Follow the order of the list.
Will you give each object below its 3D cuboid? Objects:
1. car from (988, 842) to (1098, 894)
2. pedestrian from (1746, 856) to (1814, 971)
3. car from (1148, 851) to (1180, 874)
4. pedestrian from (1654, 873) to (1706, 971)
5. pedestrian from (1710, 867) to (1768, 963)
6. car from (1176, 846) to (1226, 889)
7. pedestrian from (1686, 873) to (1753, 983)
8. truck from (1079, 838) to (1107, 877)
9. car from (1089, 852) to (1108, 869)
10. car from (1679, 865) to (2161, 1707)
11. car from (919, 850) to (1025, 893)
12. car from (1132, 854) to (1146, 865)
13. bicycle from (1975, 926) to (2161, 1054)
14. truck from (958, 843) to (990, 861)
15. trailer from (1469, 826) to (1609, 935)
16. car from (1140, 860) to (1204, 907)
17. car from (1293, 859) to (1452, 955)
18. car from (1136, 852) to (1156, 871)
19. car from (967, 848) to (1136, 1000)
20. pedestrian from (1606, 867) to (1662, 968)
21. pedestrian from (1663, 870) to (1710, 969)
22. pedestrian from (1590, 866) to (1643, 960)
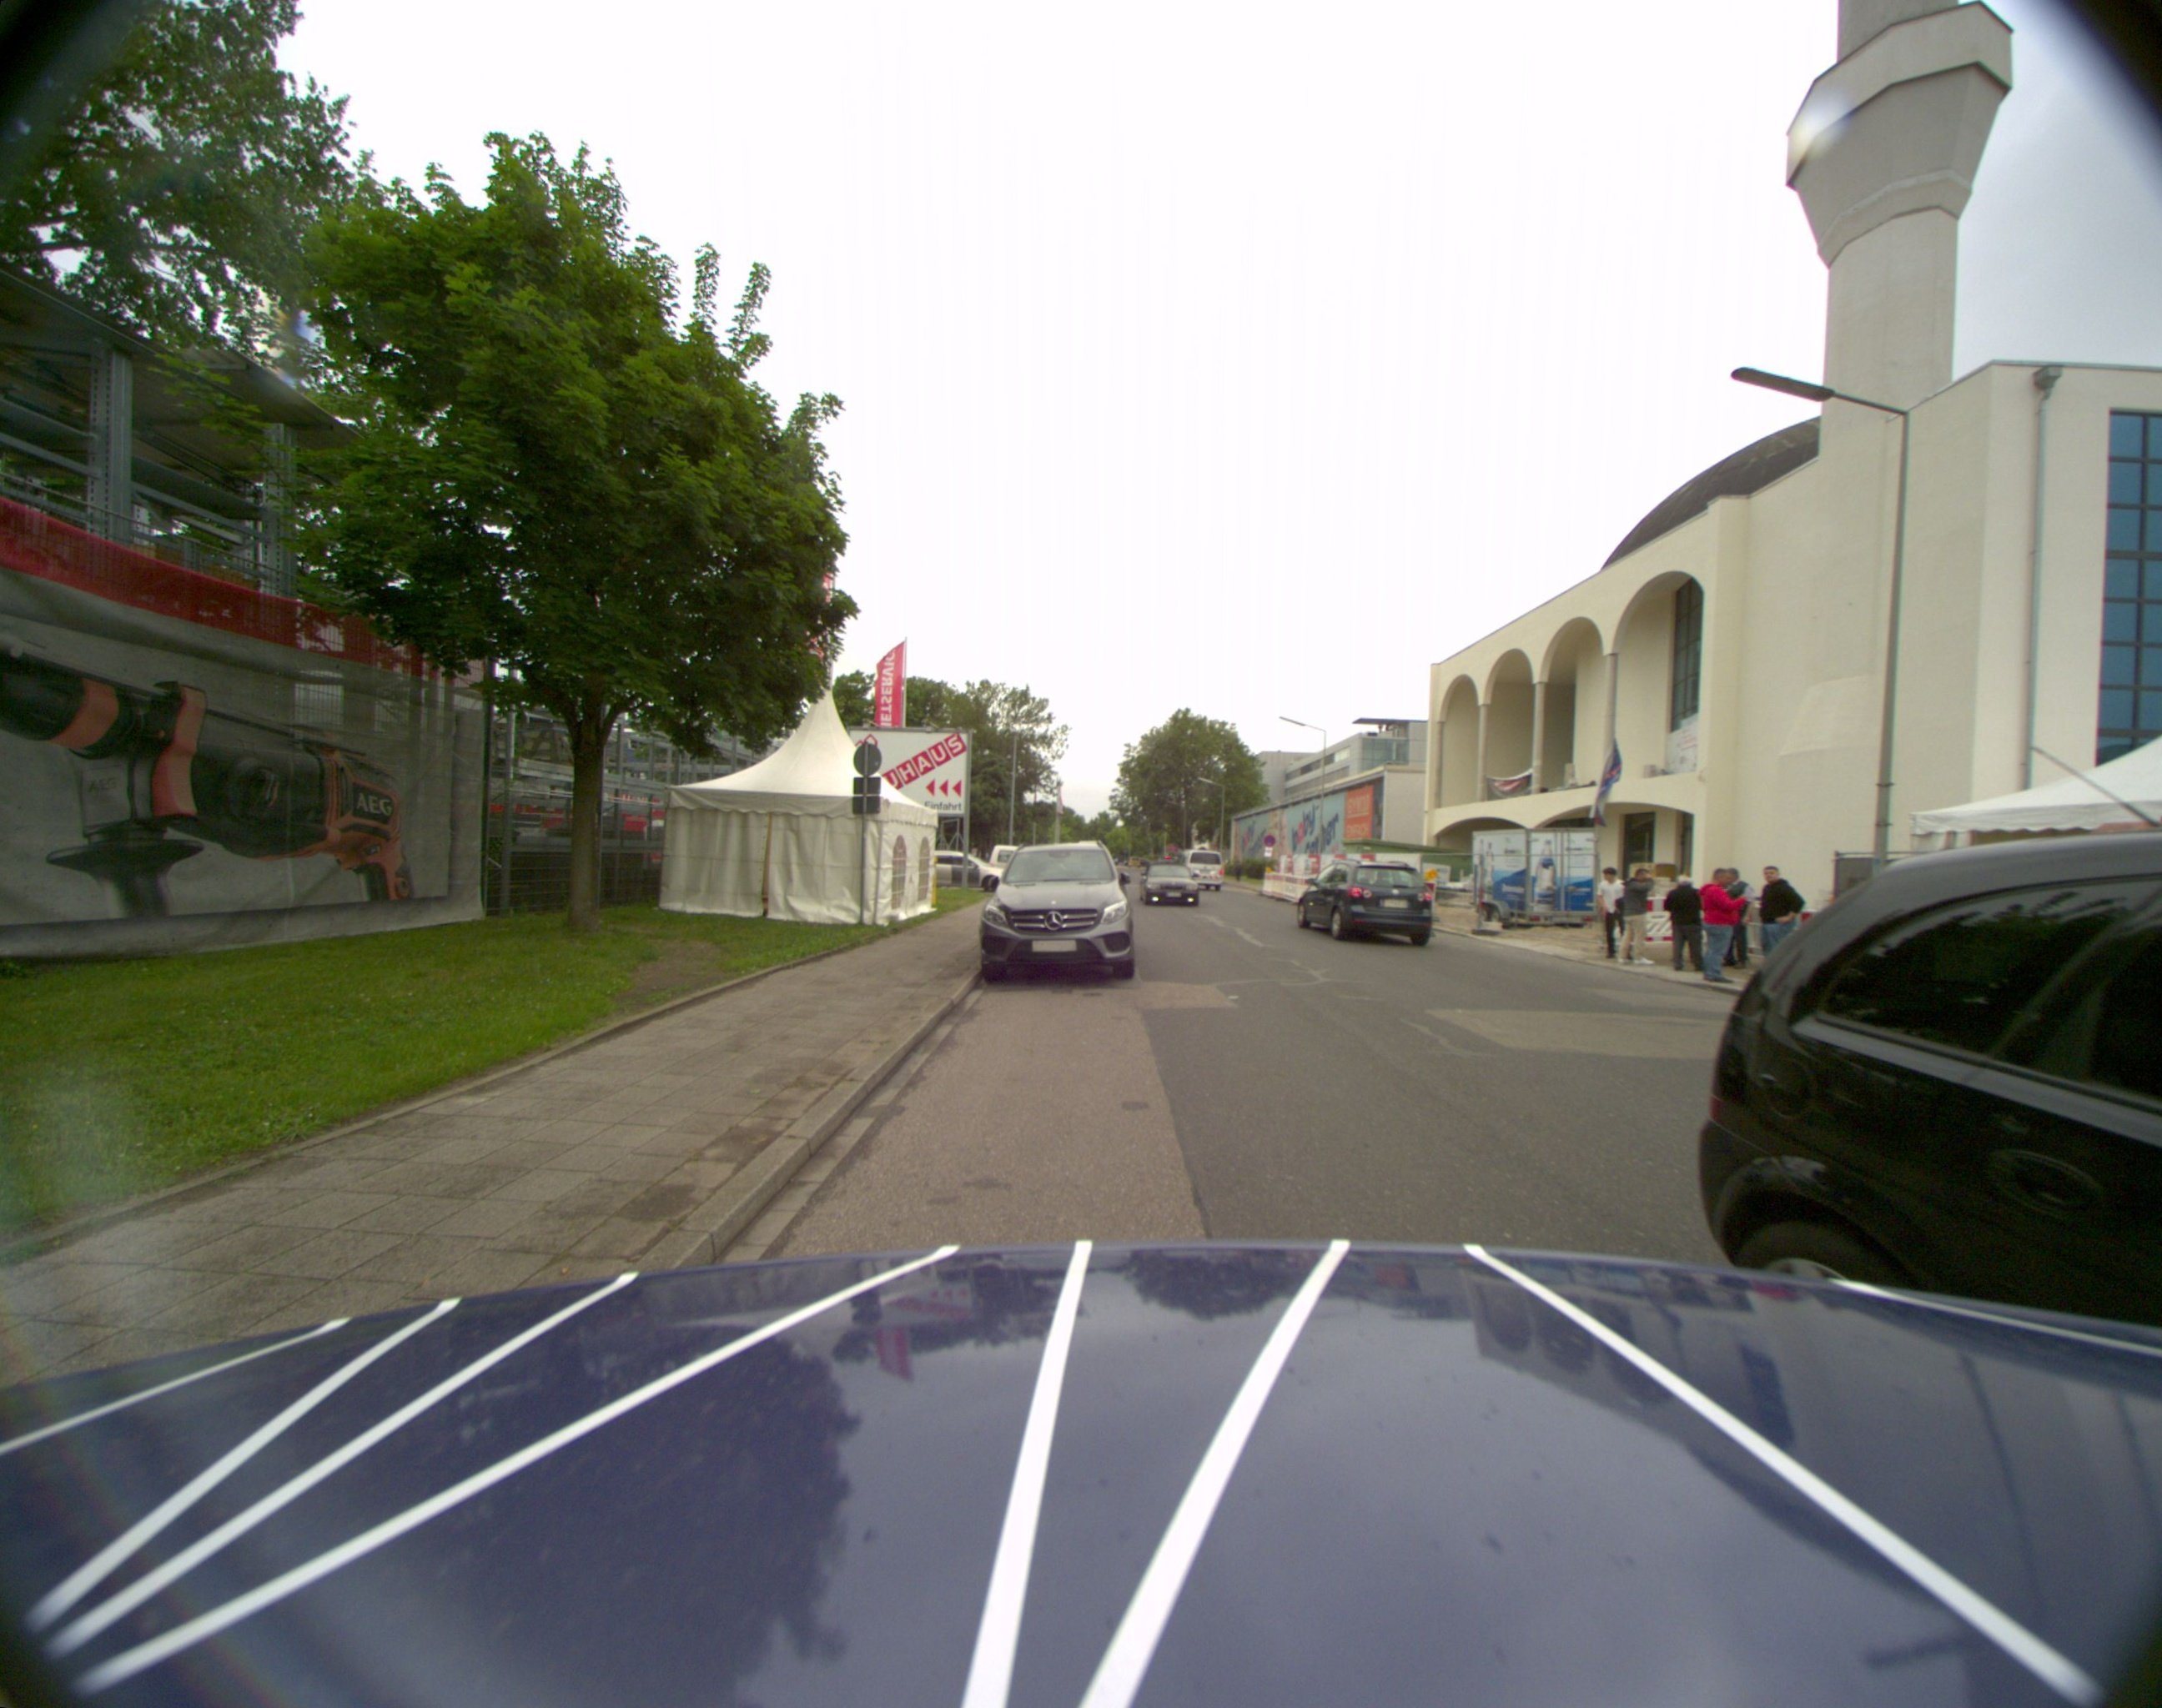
[{"bbox_3d":[-1.555,0.573,32.036,4.380,1.797,1.800,4,1,0],"label":"car"},{"bbox_3d":[10.840,0.895,11.790,0.689,1.707,0.694,0,-2,-45],"label":"pedestrian"},{"bbox_3d":[6.517,0.637,59.998,1.964,1.652,4.654,4,0,1],"label":"car"},{"bbox_3d":[10.214,1.139,12.965,0.492,1.602,0.570,1,1,-43],"label":"pedestrian"},{"bbox_3d":[11.275,1.028,13.025,0.540,1.602,0.491,0,1,7],"label":"pedestrian"},{"bbox_3d":[6.084,0.619,39.076,1.931,2.002,4.955,2,1,2],"label":"car"},{"bbox_3d":[9.690,1.105,11.539,0.491,1.602,0.539,3,1,-27],"label":"pedestrian"},{"bbox_3d":[0.856,0.202,53.605,1.853,2.597,4.000,-1,0,1],"label":"truck"},{"bbox_3d":[1.967,0.729,83.815,1.998,1.740,4.000,2,0,2],"label":"car"},{"bbox_3d":[2.572,0.879,0.305,1.685,1.622,3.759,2,0,1],"label":"car"},{"bbox_3d":[-4.112,0.636,29.054,3.685,1.575,1.777,0,1,5],"label":"car"},{"bbox_3d":[8.833,0.762,116.615,1.929,1.565,4.000,3,0,2],"label":"car"},{"bbox_3d":[11.077,1.438,8.292,0.545,1.071,1.902,2,1,8],"label":"bicycle"},{"bbox_3d":[-14.873,-0.335,106.113,1.994,2.383,4.009,2,1,41],"label":"truck"},{"bbox_3d":[11.944,0.641,20.067,1.802,2.591,3.192,2,1,4],"label":"trailer"},{"bbox_3d":[2.952,0.924,25.406,1.749,1.351,4.137,0,1,2],"label":"car"},{"bbox_3d":[5.769,0.958,15.564,1.733,1.562,3.946,3,0,2],"label":"car"},{"bbox_3d":[7.403,0.848,86.436,1.998,2.002,4.000,0,1,2],"label":"car"},{"bbox_3d":[-0.263,0.801,11.005,1.913,1.731,4.480,-1,0,2],"label":"car"},{"bbox_3d":[10.031,1.126,13.784,0.492,1.739,0.689,1,1,-43],"label":"pedestrian"},{"bbox_3d":[11.004,1.168,13.809,0.492,1.739,0.527,1,1,-43],"label":"pedestrian"},{"bbox_3d":[10.307,1.114,14.636,0.492,1.739,0.689,1,1,-43],"label":"pedestrian"}]
